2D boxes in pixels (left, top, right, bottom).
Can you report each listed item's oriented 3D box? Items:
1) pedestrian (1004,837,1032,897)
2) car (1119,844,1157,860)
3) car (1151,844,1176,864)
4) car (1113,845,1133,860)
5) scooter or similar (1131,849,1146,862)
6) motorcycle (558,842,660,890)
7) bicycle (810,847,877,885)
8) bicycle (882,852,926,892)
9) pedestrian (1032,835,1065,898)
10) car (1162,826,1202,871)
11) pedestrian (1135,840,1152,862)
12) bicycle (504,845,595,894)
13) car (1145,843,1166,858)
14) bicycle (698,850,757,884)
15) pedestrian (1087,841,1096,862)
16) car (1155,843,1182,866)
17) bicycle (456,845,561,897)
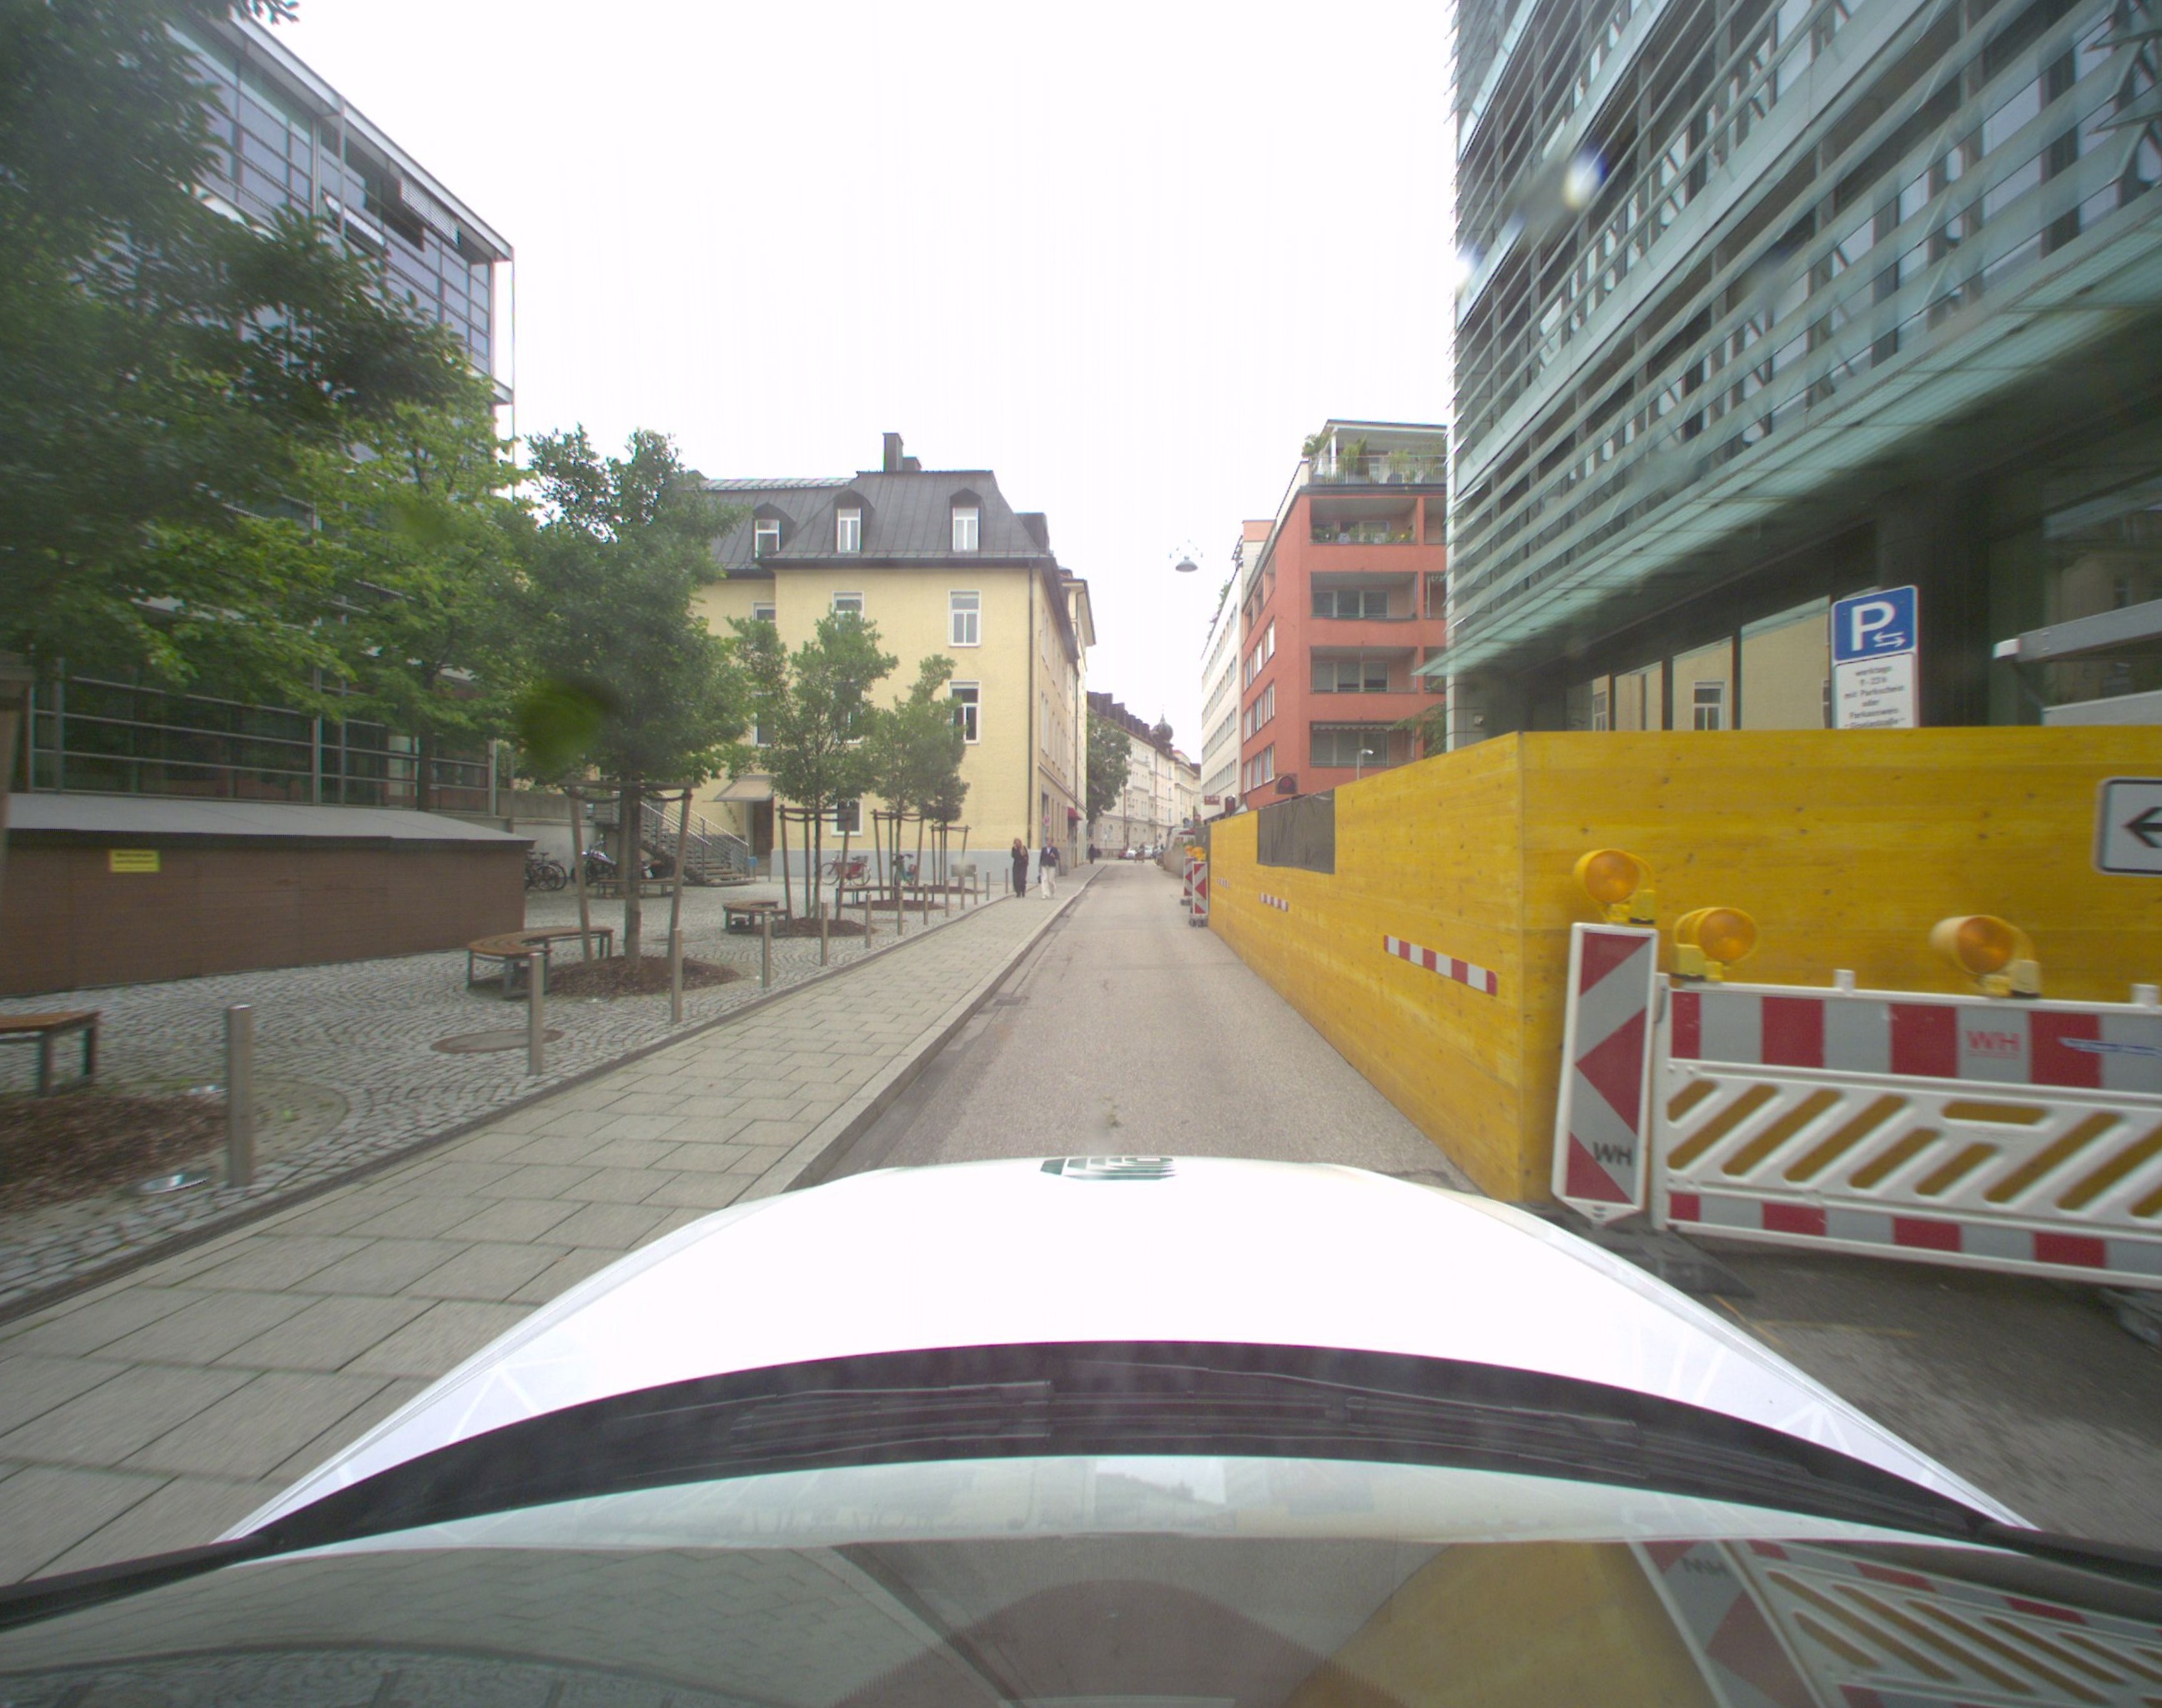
[{"bbox_3d":[-1.759,0.352,22.965,0.667,1.648,0.762,1,0,2],"label":"pedestrian"},{"bbox_3d":[5.937,-0.167,84.674,1.675,1.574,4.024,1,1,43],"label":"car"},{"bbox_3d":[6.824,0.008,67.641,1.804,1.563,4.277,1,0,2],"label":"car"},{"bbox_3d":[4.586,-0.146,89.447,1.681,1.574,4.011,1,1,10],"label":"car"},{"bbox_3d":[5.143,0.134,73.198,1.059,1.127,1.166,2,0,19],"label":"scooter or similar"},{"bbox_3d":[-12.934,0.321,22.330,2.485,1.244,0.760,1,0,10],"label":"motorcycle"},{"bbox_3d":[-7.772,0.383,26.668,2.031,1.197,0.571,1,0,9],"label":"bicycle"},{"bbox_3d":[-5.359,0.512,24.792,0.506,1.144,2.058,1,0,11],"label":"bicycle"},{"bbox_3d":[-0.899,0.337,22.806,0.836,1.700,0.803,1,0,2],"label":"pedestrian"},{"bbox_3d":[6.055,-0.364,49.272,1.986,2.536,4.978,1,1,2],"label":"car"},{"bbox_3d":[5.723,-0.291,74.567,1.124,2.013,1.416,1,0,19],"label":"pedestrian"},{"bbox_3d":[-13.252,0.379,20.308,2.031,1.144,0.642,2,0,12],"label":"bicycle"},{"bbox_3d":[9.543,-0.427,103.828,2.005,1.904,4.308,0,0,15],"label":"car"},{"bbox_3d":[-11.517,0.411,26.537,1.647,1.069,0.599,1,0,6],"label":"bicycle"},{"bbox_3d":[0.833,-0.213,64.165,0.632,1.675,0.518,1,0,2],"label":"pedestrian"},{"bbox_3d":[6.719,0.018,62.979,1.781,1.625,4.275,1,1,2],"label":"car"},{"bbox_3d":[-13.449,0.379,19.154,2.031,1.144,0.849,2,0,12],"label":"bicycle"}]
